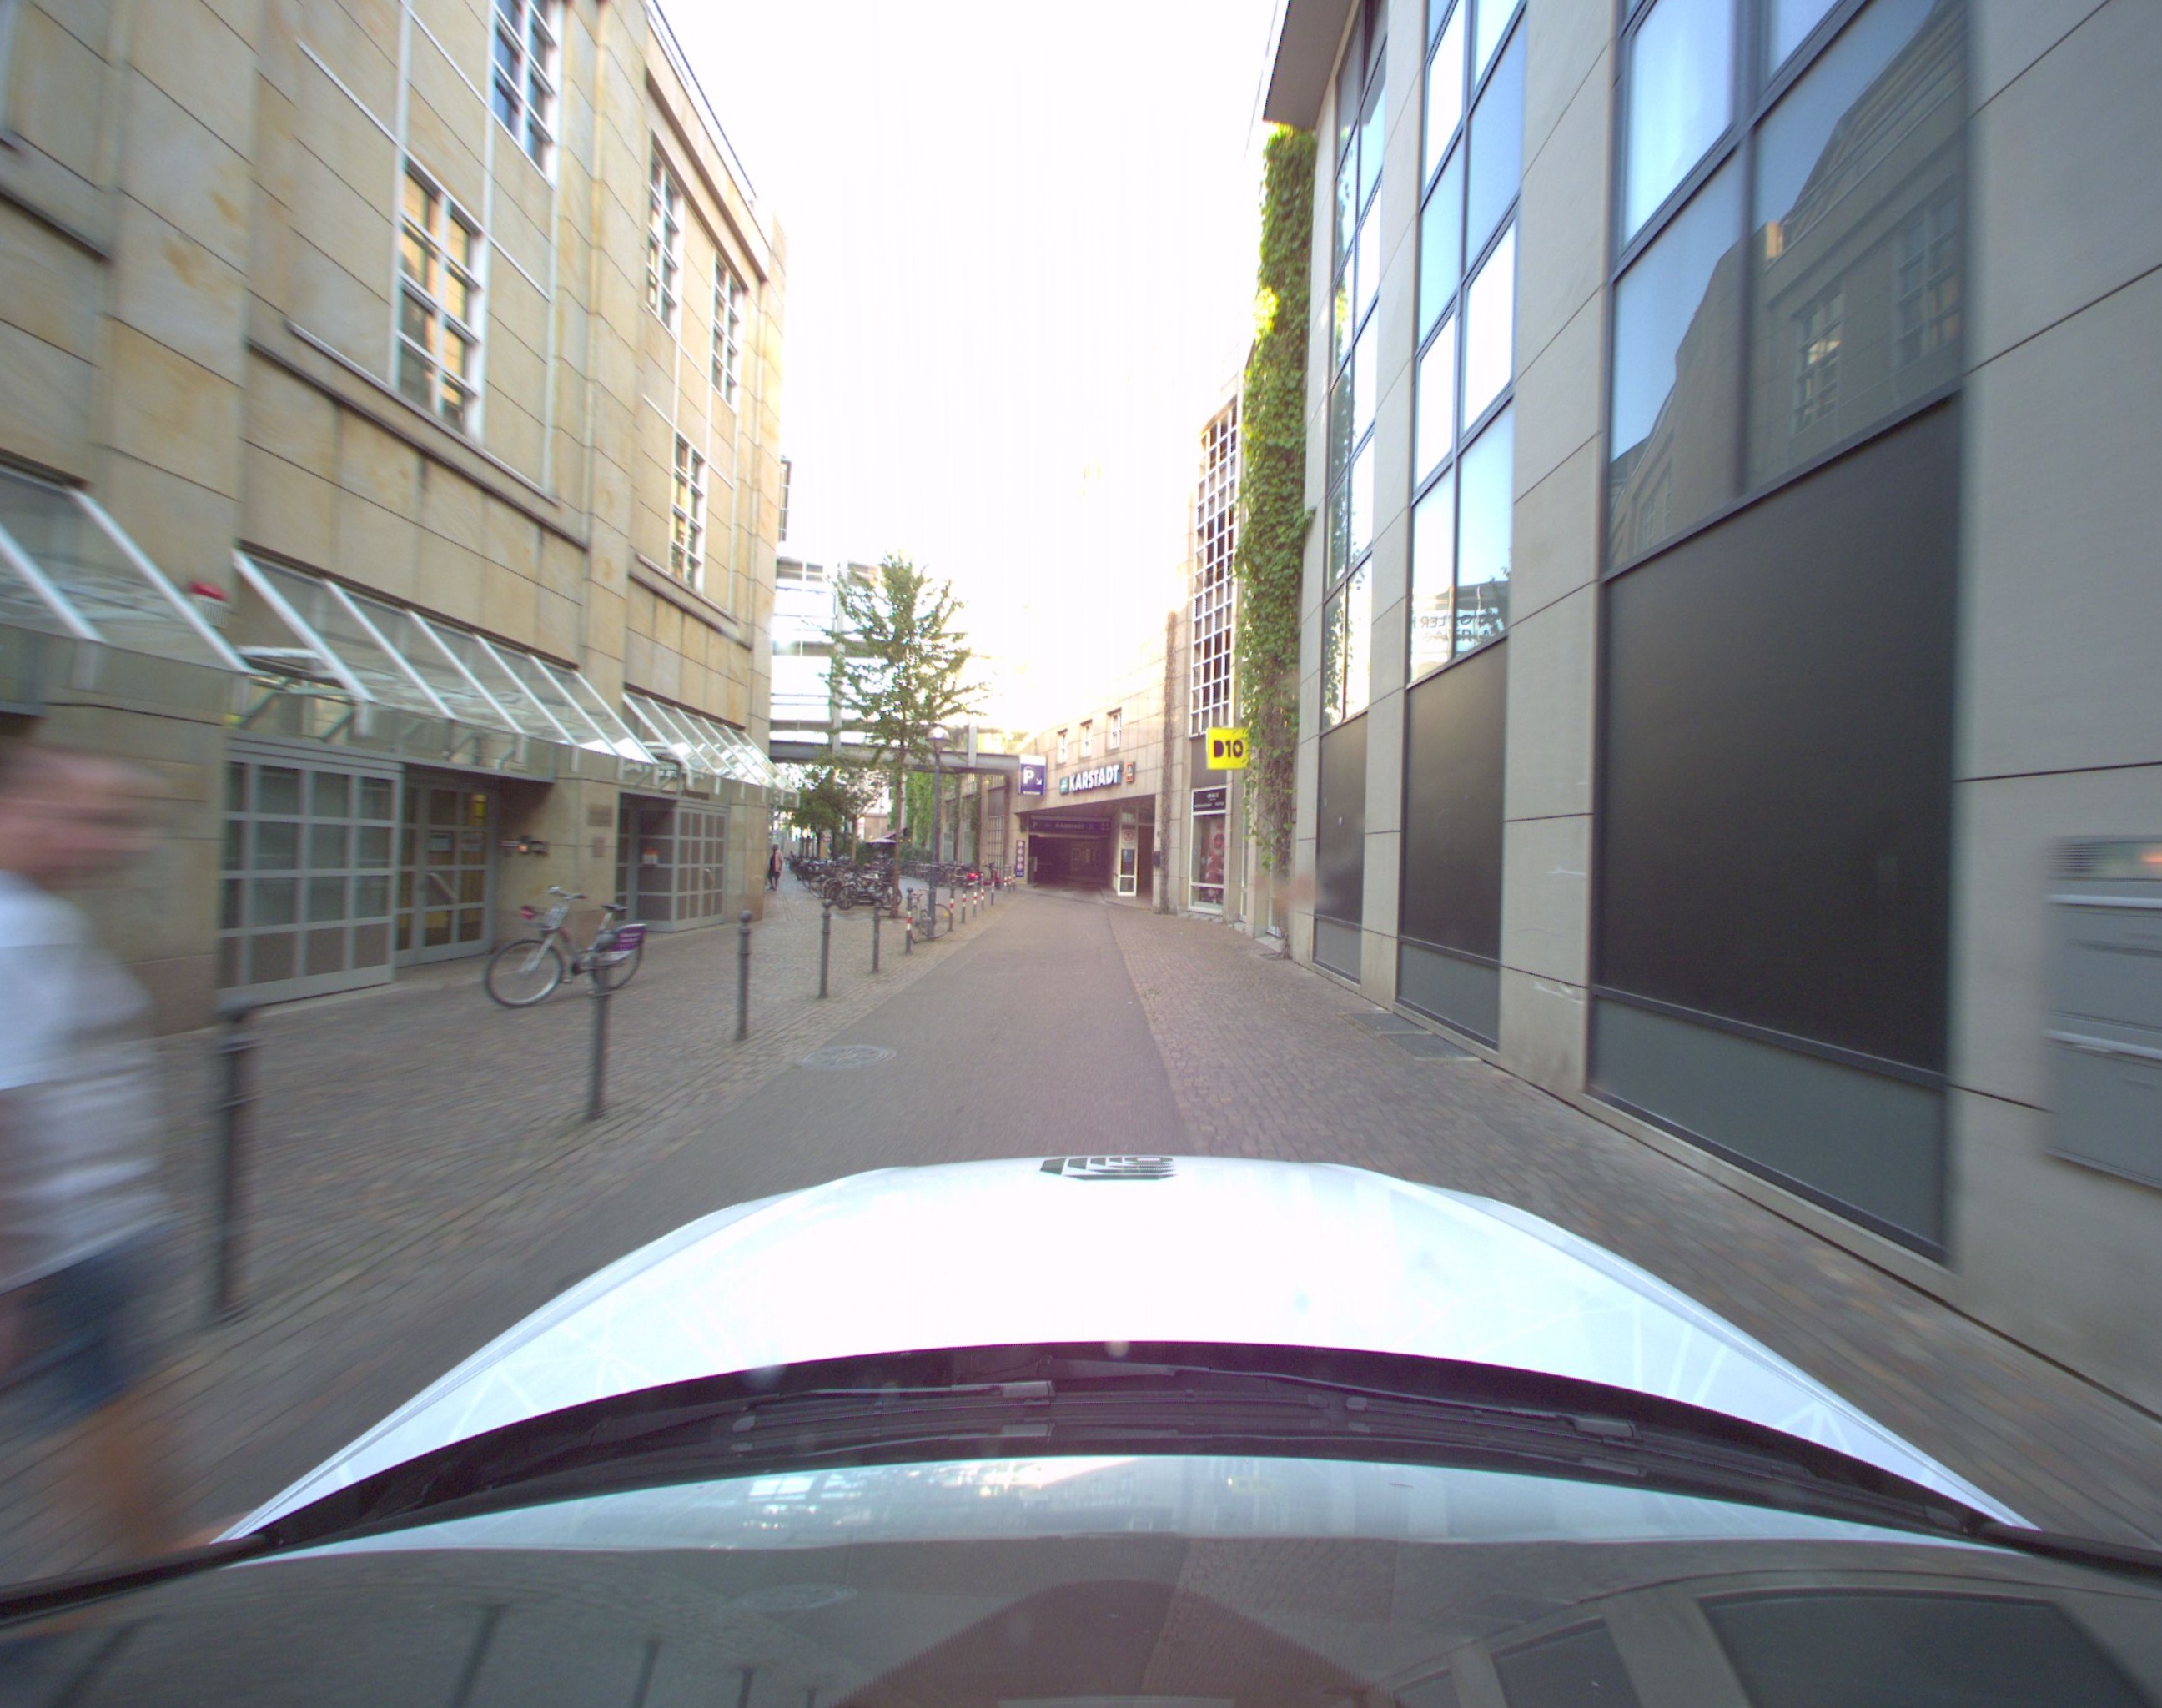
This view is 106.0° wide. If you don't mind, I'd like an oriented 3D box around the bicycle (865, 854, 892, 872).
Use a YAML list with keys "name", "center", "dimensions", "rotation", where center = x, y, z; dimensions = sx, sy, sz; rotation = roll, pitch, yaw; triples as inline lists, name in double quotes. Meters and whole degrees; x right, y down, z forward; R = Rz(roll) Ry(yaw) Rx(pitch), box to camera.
- name: "bicycle"
  center: [-14.146, 0.630, 56.911]
  dimensions: [1.780, 1.190, 0.582]
  rotation: [1, 0, -21]

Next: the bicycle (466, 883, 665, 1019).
- name: "bicycle"
  center: [-5.087, 0.900, 8.192]
  dimensions: [0.517, 1.138, 1.772]
  rotation: [1, 0, 16]

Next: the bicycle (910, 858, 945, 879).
- name: "bicycle"
  center: [-8.247, 0.774, 43.838]
  dimensions: [1.780, 1.114, 0.539]
  rotation: [1, 0, -21]

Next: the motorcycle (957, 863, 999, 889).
- name: "motorcycle"
  center: [-4.239, 0.919, 33.625]
  dimensions: [1.669, 1.050, 0.460]
  rotation: [1, 0, -21]

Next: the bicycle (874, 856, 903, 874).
- name: "bicycle"
  center: [-12.238, 0.718, 51.815]
  dimensions: [1.778, 1.114, 0.539]
  rotation: [1, 0, -19]

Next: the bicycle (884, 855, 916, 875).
- name: "bicycle"
  center: [-10.607, 0.637, 47.826]
  dimensions: [1.780, 1.114, 0.539]
  rotation: [1, 0, -21]

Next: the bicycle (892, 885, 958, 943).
- name: "bicycle"
  center: [-2.854, 1.081, 15.089]
  dimensions: [0.489, 0.939, 1.665]
  rotation: [2, 0, 14]

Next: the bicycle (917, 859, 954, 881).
- name: "bicycle"
  center: [-7.420, 0.818, 41.603]
  dimensions: [1.780, 1.114, 0.539]
  rotation: [1, 0, -21]

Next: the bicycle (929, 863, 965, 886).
- name: "bicycle"
  center: [-6.081, 0.924, 37.012]
  dimensions: [1.545, 1.049, 0.571]
  rotation: [1, 0, -21]

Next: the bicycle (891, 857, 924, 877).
- name: "bicycle"
  center: [-9.807, 0.740, 46.040]
  dimensions: [1.780, 1.114, 0.539]
  rotation: [1, 0, -21]

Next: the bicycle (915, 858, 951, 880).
- name: "bicycle"
  center: [-7.792, 0.795, 42.797]
  dimensions: [1.780, 1.114, 0.539]
  rotation: [1, 0, -21]

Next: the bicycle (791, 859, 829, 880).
- name: "bicycle"
  center: [-13.474, 0.751, 40.524]
  dimensions: [1.787, 1.019, 0.477]
  rotation: [1, 0, -23]

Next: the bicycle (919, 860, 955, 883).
- name: "bicycle"
  center: [-6.719, 0.839, 37.975]
  dimensions: [1.545, 1.049, 0.571]
  rotation: [1, 0, -21]

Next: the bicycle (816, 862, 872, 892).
- name: "bicycle"
  center: [-8.581, 0.819, 29.485]
  dimensions: [1.885, 1.043, 0.530]
  rotation: [1, 0, -23]

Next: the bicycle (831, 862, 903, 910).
- name: "bicycle"
  center: [-5.631, 0.836, 21.438]
  dimensions: [1.774, 1.230, 0.530]
  rotation: [1, 0, -23]

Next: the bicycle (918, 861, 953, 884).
- name: "bicycle"
  center: [-7.039, 0.894, 39.364]
  dimensions: [1.545, 1.049, 0.571]
  rotation: [1, 0, -21]

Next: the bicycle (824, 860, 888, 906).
- name: "bicycle"
  center: [-6.284, 0.797, 22.732]
  dimensions: [1.661, 1.230, 0.530]
  rotation: [1, 0, -23]

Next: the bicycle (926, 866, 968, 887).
- name: "bicycle"
  center: [-5.928, 1.014, 36.064]
  dimensions: [1.780, 0.904, 0.460]
  rotation: [1, 0, -21]

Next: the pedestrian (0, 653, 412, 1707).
- name: "pedestrian"
  center: [-1.905, 0.623, 1.404]
  dimensions: [0.740, 1.822, 0.878]
  rotation: [1, 0, -1]

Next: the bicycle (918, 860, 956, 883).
- name: "bicycle"
  center: [-7.148, 0.862, 40.536]
  dimensions: [1.780, 1.114, 0.539]
  rotation: [1, 0, -21]

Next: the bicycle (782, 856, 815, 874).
- name: "bicycle"
  center: [-17.639, 0.689, 50.910]
  dimensions: [1.912, 1.112, 0.477]
  rotation: [1, 0, -23]

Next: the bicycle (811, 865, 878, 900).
- name: "bicycle"
  center: [-7.270, 0.857, 25.056]
  dimensions: [1.902, 1.052, 0.530]
  rotation: [1, 0, -23]

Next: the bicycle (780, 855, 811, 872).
- name: "bicycle"
  center: [-19.284, 0.647, 54.992]
  dimensions: [1.912, 1.112, 0.477]
  rotation: [1, 0, -23]

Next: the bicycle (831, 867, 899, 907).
- name: "bicycle"
  center: [-6.251, 0.934, 23.594]
  dimensions: [1.844, 1.122, 0.530]
  rotation: [1, 0, -23]

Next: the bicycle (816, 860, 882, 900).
- name: "bicycle"
  center: [-6.985, 0.773, 24.532]
  dimensions: [1.880, 1.177, 0.530]
  rotation: [1, 0, -23]

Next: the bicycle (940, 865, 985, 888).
- name: "bicycle"
  center: [-5.124, 0.968, 35.231]
  dimensions: [1.855, 0.982, 0.460]
  rotation: [1, 0, -21]

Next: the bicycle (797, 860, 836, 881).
- name: "bicycle"
  center: [-12.893, 0.790, 39.699]
  dimensions: [1.787, 1.019, 0.477]
  rotation: [1, 0, -23]

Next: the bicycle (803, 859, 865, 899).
- name: "bicycle"
  center: [-7.792, 0.770, 25.718]
  dimensions: [1.841, 1.225, 0.530]
  rotation: [1, 0, -23]

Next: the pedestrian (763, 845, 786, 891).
- name: "pedestrian"
  center: [-10.726, 0.473, 28.488]
  dimensions: [0.701, 1.582, 0.714]
  rotation: [1, 0, -23]

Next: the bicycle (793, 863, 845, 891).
- name: "bicycle"
  center: [-10.038, 0.862, 31.210]
  dimensions: [1.832, 1.043, 0.530]
  rotation: [1, 0, -23]
